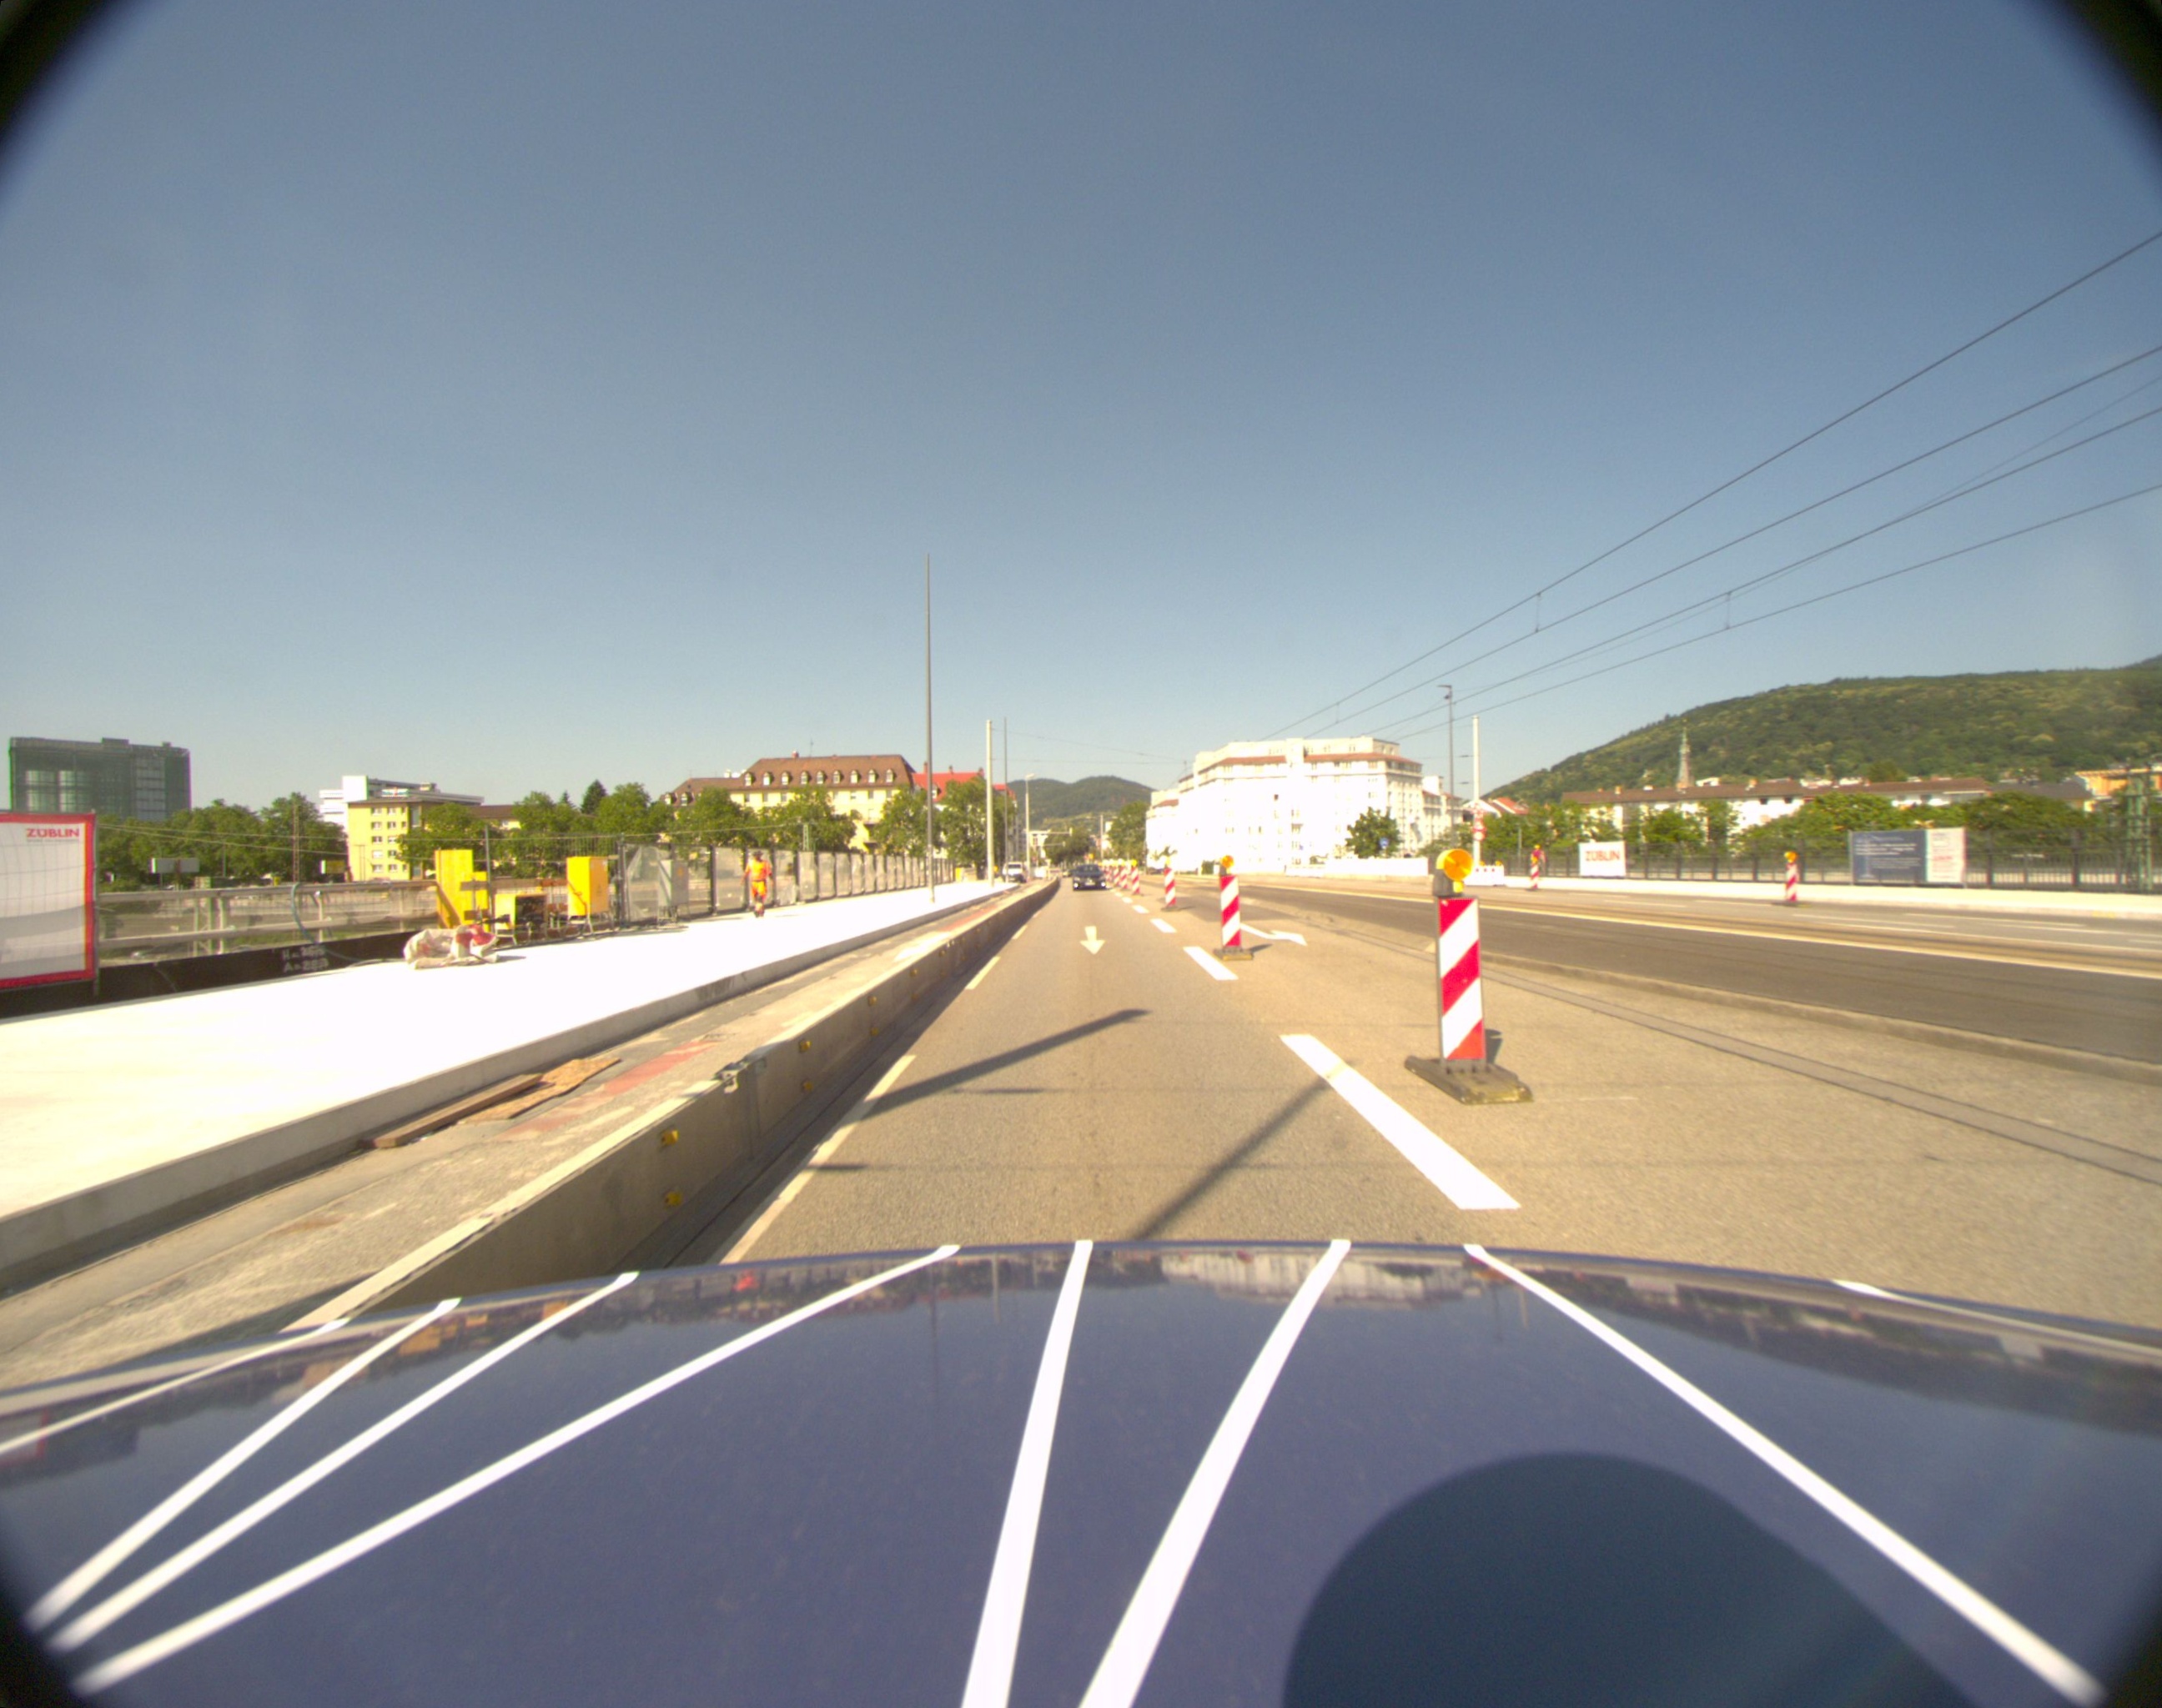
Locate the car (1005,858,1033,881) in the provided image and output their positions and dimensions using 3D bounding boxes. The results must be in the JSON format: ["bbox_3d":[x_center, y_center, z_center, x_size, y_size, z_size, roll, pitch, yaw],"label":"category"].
[{"bbox_3d":[-5.893,1.455,72.651,1.938,2.077,6.472,-1,-1,2],"label":"car"}]

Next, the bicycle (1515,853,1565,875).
[{"bbox_3d":[25.497,0.538,42.322,0.858,1.188,3.072,-2,0,-1],"label":"bicycle"}]

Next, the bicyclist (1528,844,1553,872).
[{"bbox_3d":[25.489,0.231,42.189,0.858,1.510,0.817,-2,0,-1],"label":"bicyclist"}]

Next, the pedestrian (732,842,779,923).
[{"bbox_3d":[-8.045,0.689,18.825,0.733,1.953,1.016,0,0,0],"label":"pedestrian"}]

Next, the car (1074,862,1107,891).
[{"bbox_3d":[0.485,1.183,41.831,1.698,1.388,4.362,-3,0,0],"label":"car"}]
